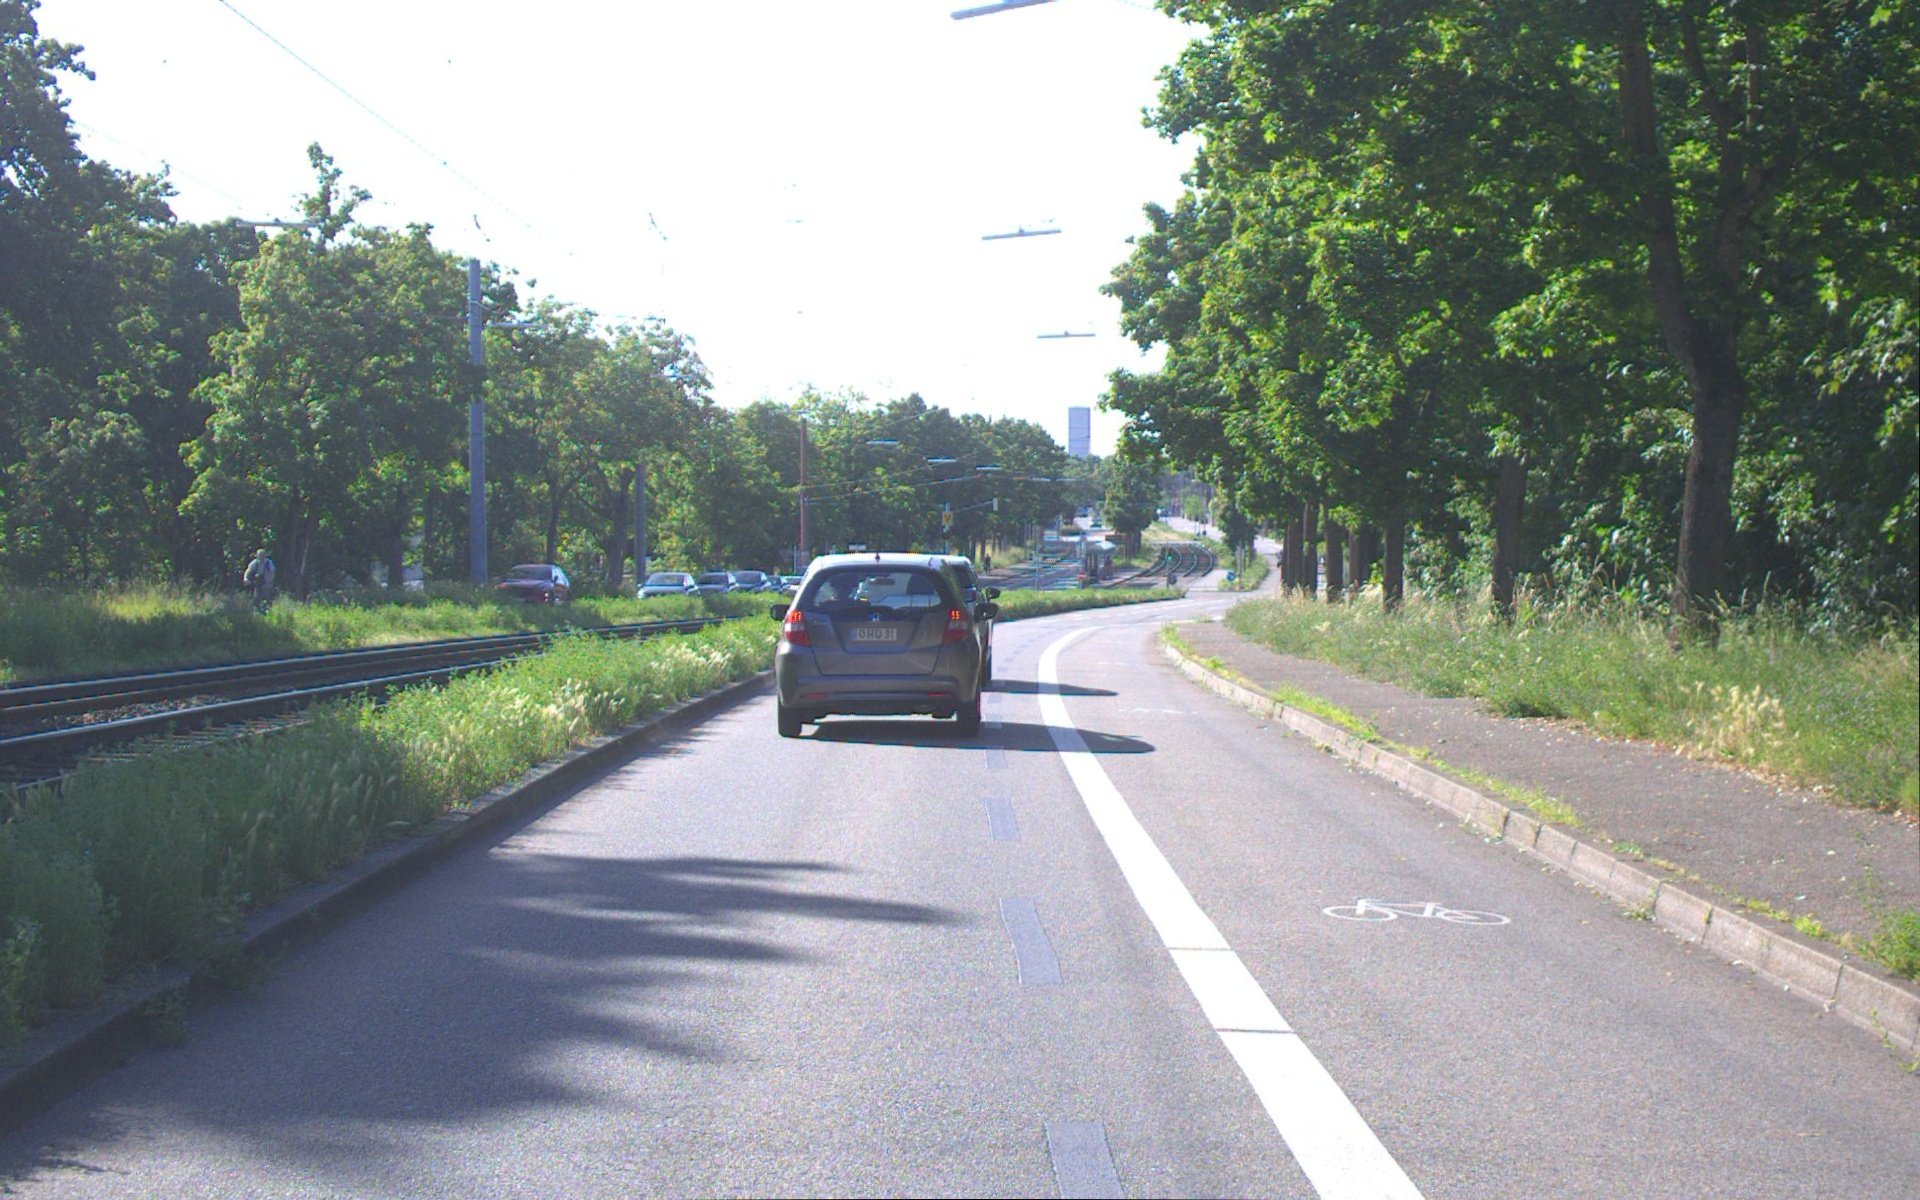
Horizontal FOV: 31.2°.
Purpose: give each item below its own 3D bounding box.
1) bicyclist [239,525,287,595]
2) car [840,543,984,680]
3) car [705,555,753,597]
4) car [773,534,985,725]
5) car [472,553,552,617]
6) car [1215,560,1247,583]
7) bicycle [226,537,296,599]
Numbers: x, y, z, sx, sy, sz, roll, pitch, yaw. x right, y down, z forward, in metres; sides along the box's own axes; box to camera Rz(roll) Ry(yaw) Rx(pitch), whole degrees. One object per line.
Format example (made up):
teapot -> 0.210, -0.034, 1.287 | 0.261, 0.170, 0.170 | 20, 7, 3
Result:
bicyclist -> -15.375, -0.892, 75.842 | 0.790, 1.484, 1.109 | 2, 3, 2
car -> -0.586, 0.106, 42.467 | 1.654, 1.502, 3.811 | 1, 2, -1
car -> -9.956, -1.059, 148.371 | 1.623, 1.546, 4.001 | 2, 3, 2
car -> -0.674, 0.244, 29.572 | 1.670, 1.502, 3.811 | 1, 0, -1
car -> -14.942, -0.511, 114.841 | 1.993, 1.869, 4.001 | 2, 3, 2
car -> 18.525, -1.962, 234.703 | 1.655, 1.308, 3.809 | 2, 3, 11
bicycle -> -15.379, -0.722, 75.720 | 0.789, 1.191, 3.169 | 2, 3, 2
